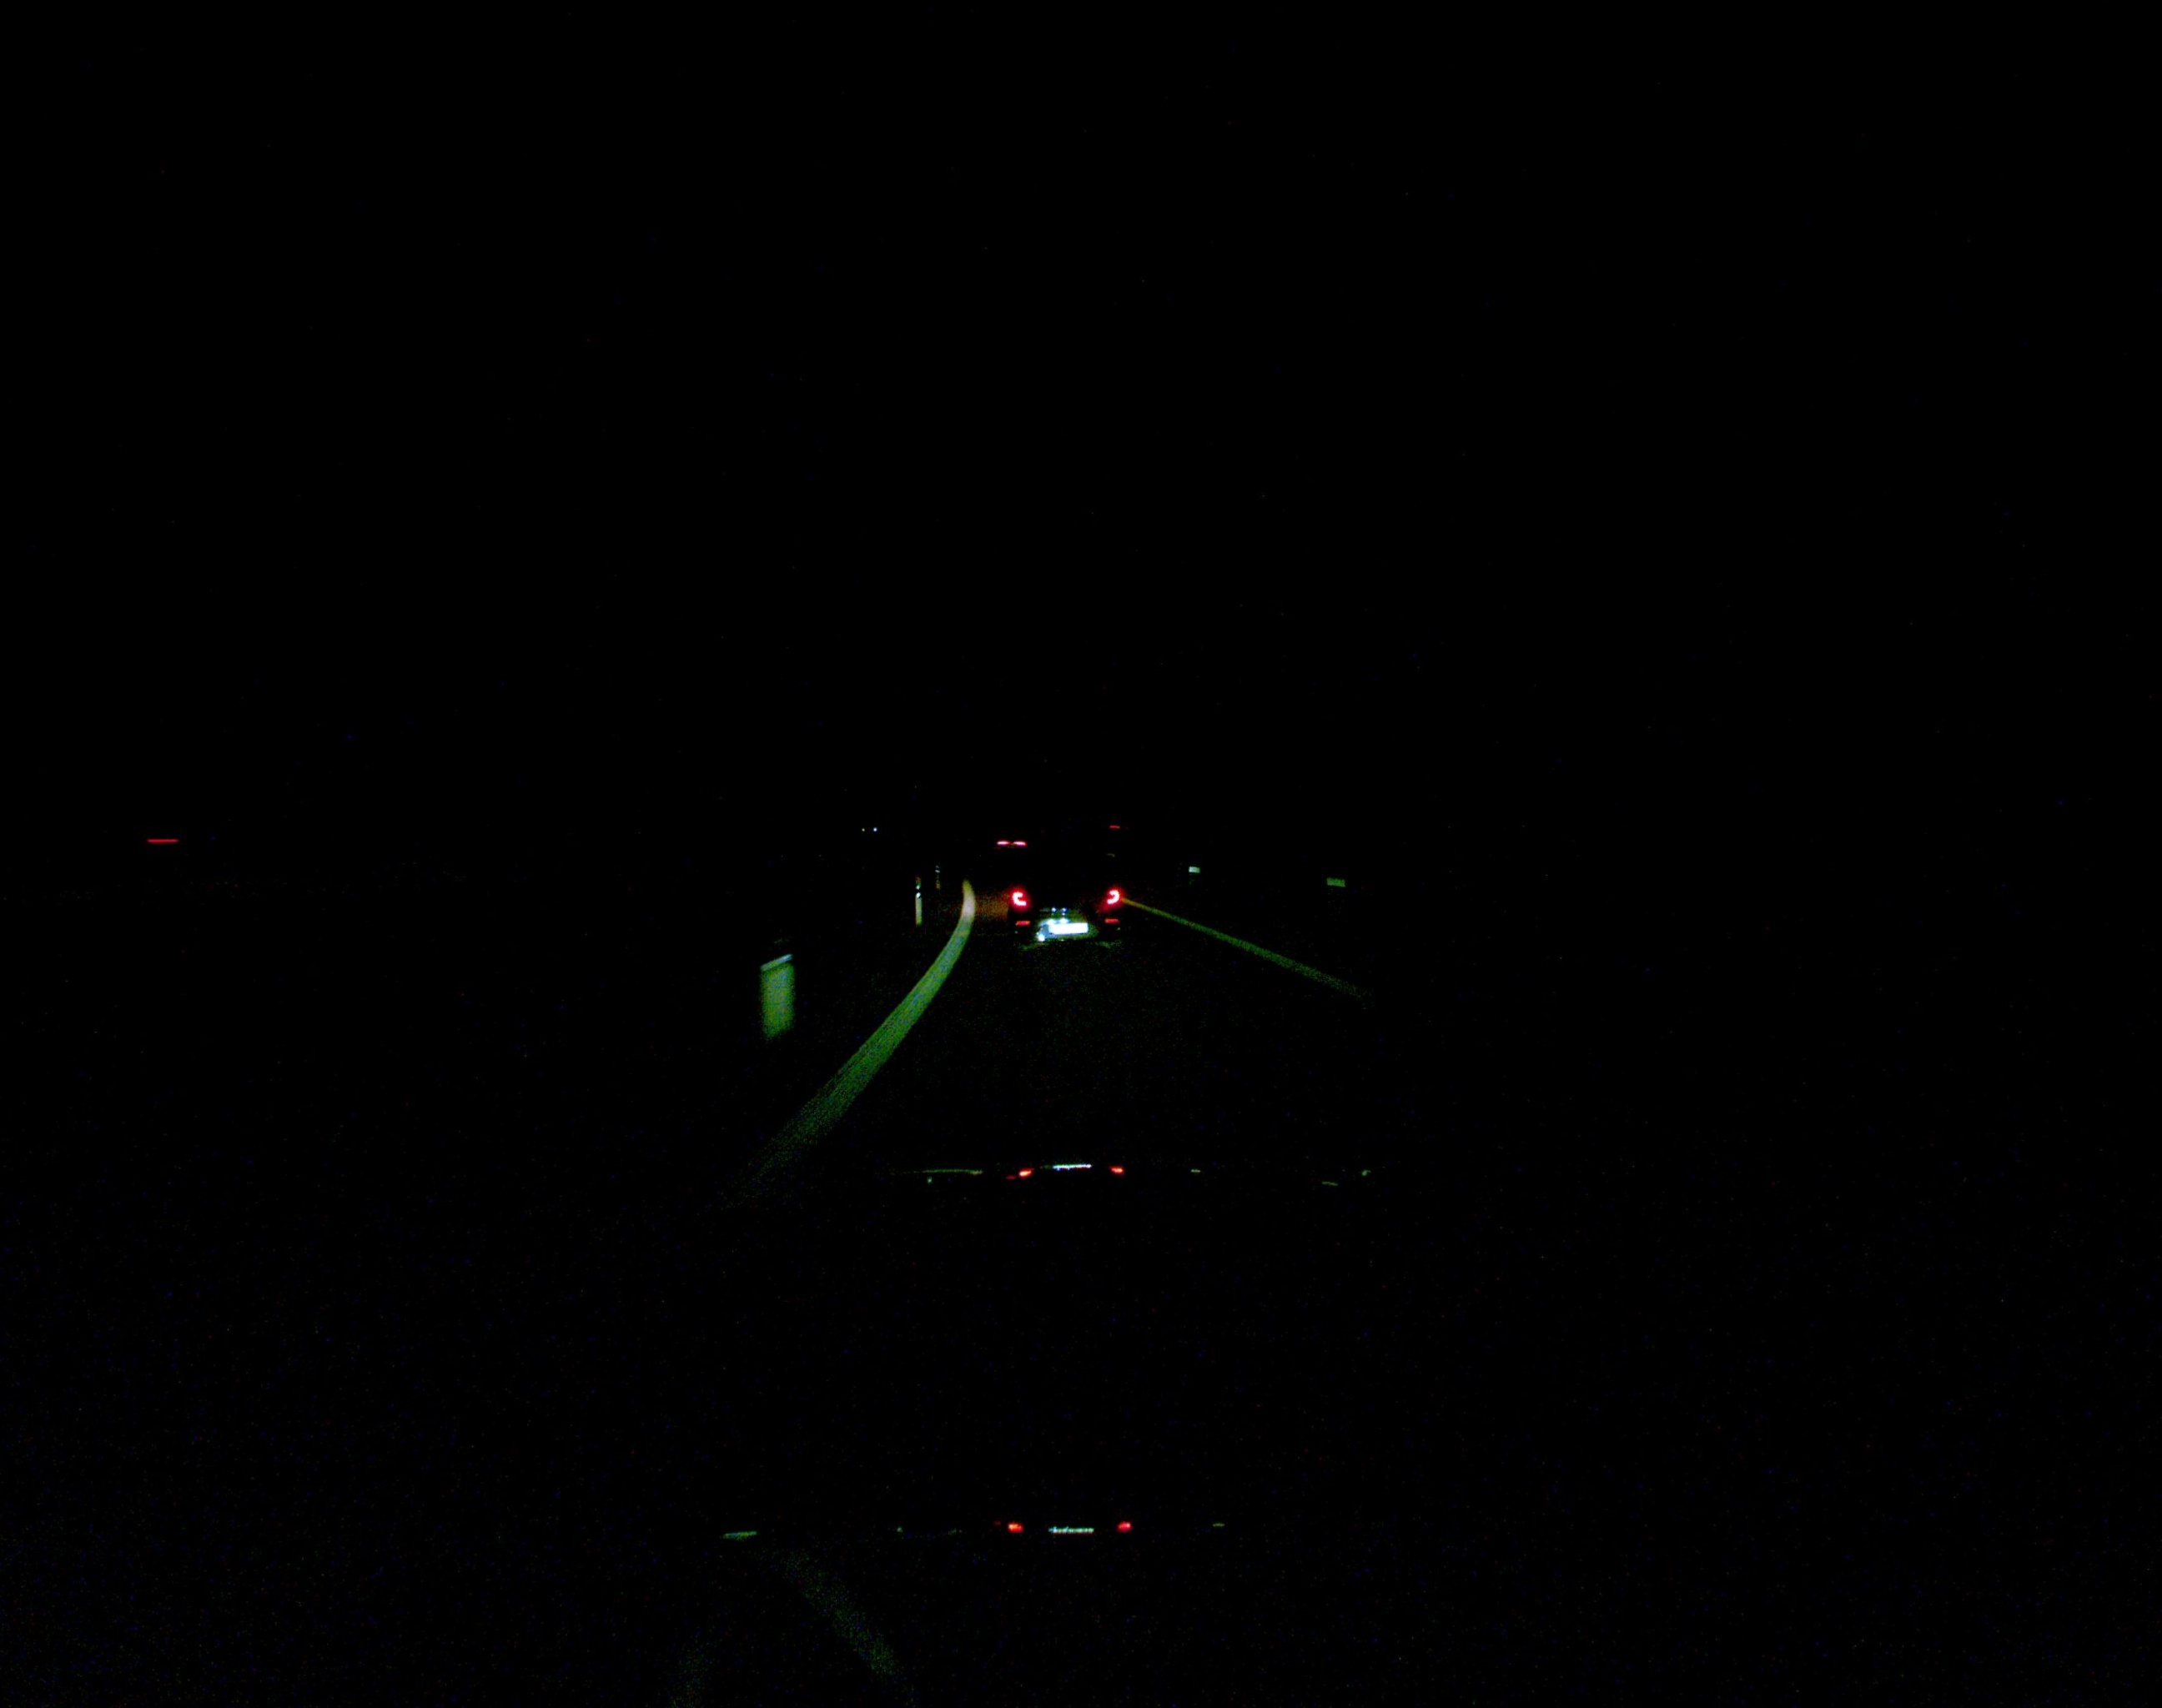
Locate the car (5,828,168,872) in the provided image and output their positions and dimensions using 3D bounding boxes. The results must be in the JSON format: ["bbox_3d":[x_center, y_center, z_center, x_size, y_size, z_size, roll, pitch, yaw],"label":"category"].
[{"bbox_3d":[-42.846,-0.230,35.221,1.768,1.757,4.019,0,2,18],"label":"car"}]

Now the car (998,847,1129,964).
[{"bbox_3d":[-0.308,0.669,12.849,1.687,1.477,3.996,-2,1,-2],"label":"car"}]

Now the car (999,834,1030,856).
[{"bbox_3d":[-4.932,-0.677,60.854,1.946,1.538,4.239,-2,1,-1],"label":"car"}]
